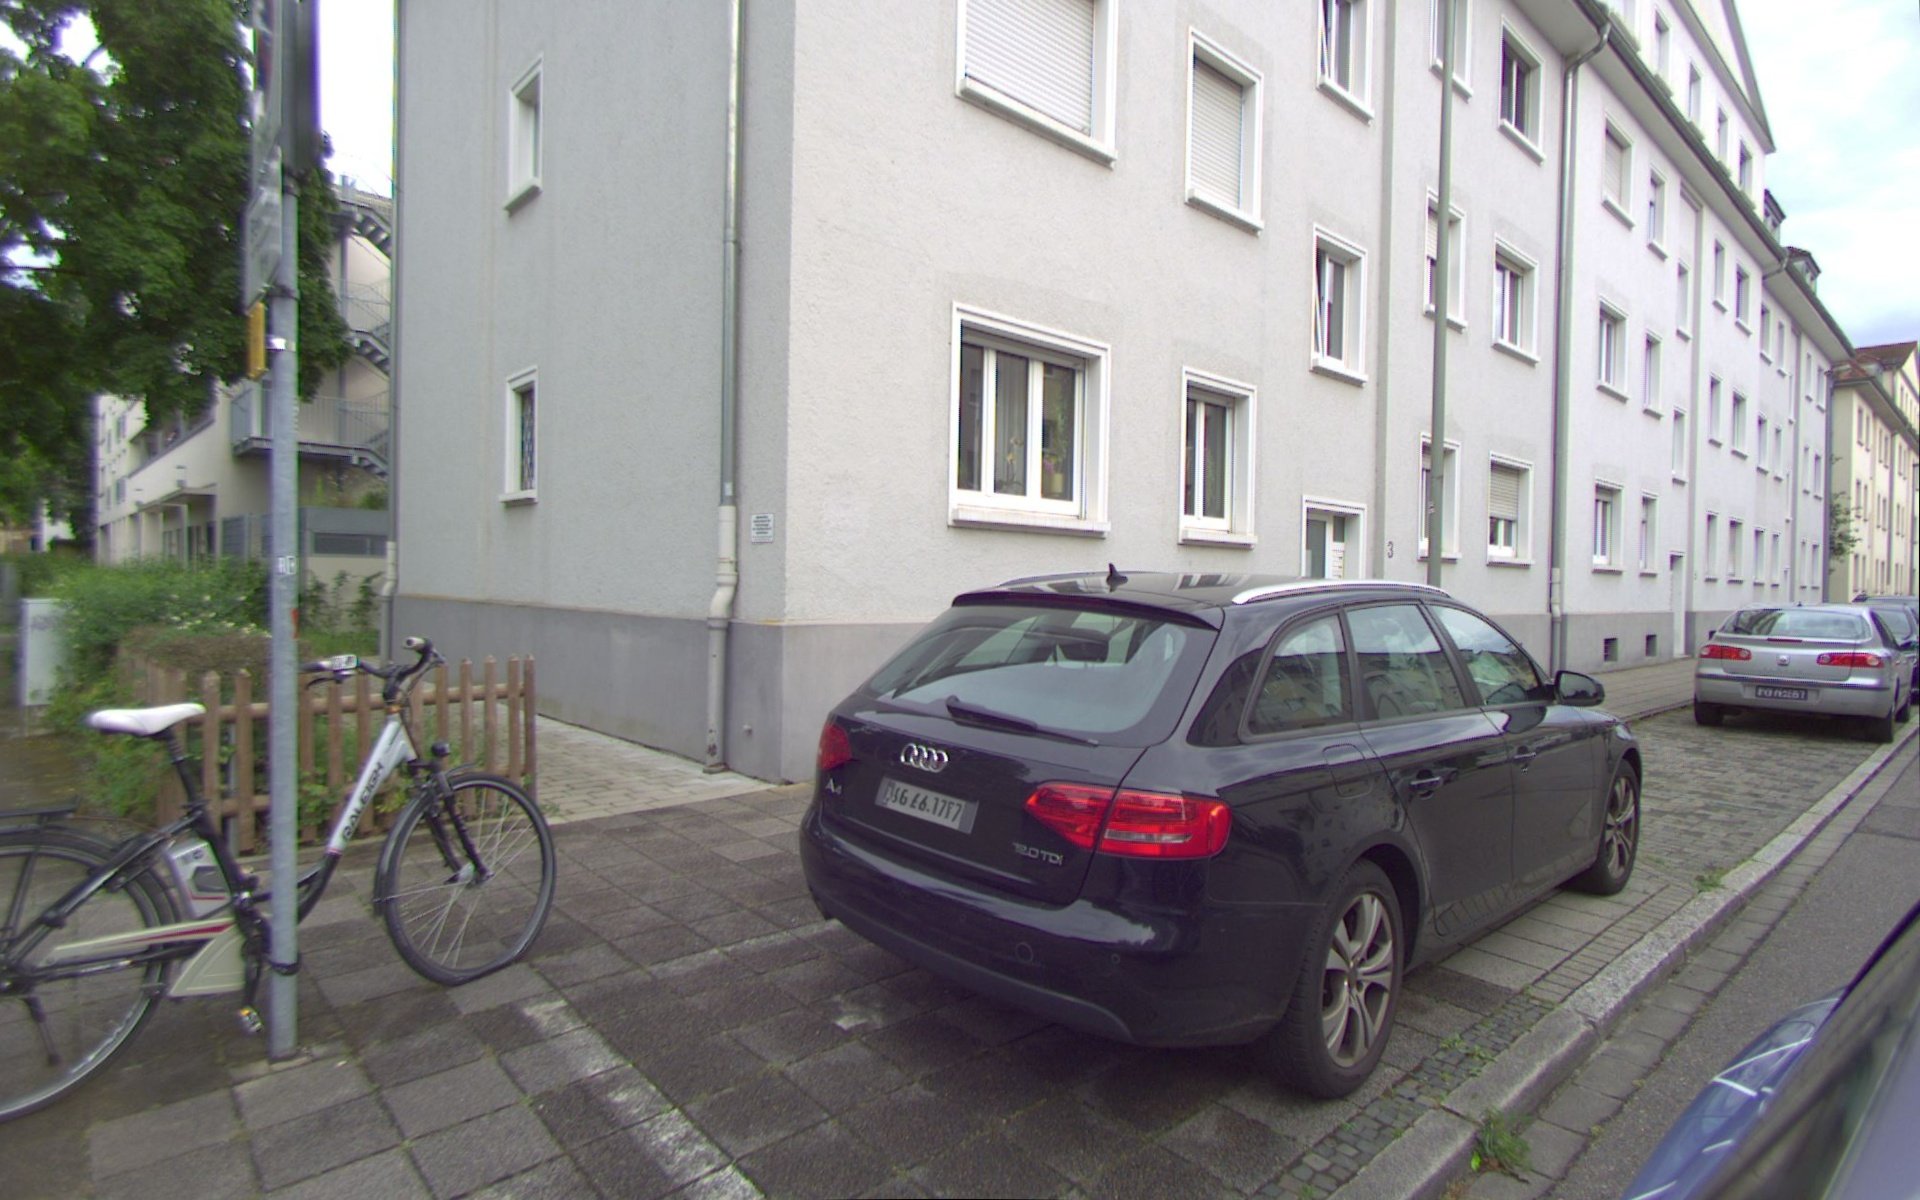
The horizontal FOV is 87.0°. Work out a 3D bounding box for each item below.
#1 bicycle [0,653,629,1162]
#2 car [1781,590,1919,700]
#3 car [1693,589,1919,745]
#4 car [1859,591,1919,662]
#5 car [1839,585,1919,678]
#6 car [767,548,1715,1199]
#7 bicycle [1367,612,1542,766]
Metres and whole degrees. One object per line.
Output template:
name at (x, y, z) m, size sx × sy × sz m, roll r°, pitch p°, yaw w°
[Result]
bicycle at (-1.952, 0.745, 2.887) m, size 1.857 × 1.016 × 0.568 m, roll -2°, pitch 4°, yaw -42°
car at (14.399, 0.628, 15.924) m, size 4.251 × 1.481 × 1.783 m, roll 0°, pitch 1°, yaw -44°
car at (10.225, 0.656, 11.994) m, size 4.357 × 1.481 × 1.734 m, roll 0°, pitch 1°, yaw -44°
car at (21.906, 0.592, 23.058) m, size 3.692 × 1.505 × 1.735 m, roll 1°, pitch 1°, yaw -43°
car at (18.414, 0.579, 19.501) m, size 4.091 × 1.619 × 1.850 m, roll 0°, pitch 1°, yaw -44°
car at (1.660, 0.607, 4.416) m, size 4.647 × 1.480 × 1.862 m, roll 0°, pitch 2°, yaw -44°
bicycle at (4.547, 0.744, 9.249) m, size 1.862 × 1.215 × 0.750 m, roll 1°, pitch 3°, yaw -42°
